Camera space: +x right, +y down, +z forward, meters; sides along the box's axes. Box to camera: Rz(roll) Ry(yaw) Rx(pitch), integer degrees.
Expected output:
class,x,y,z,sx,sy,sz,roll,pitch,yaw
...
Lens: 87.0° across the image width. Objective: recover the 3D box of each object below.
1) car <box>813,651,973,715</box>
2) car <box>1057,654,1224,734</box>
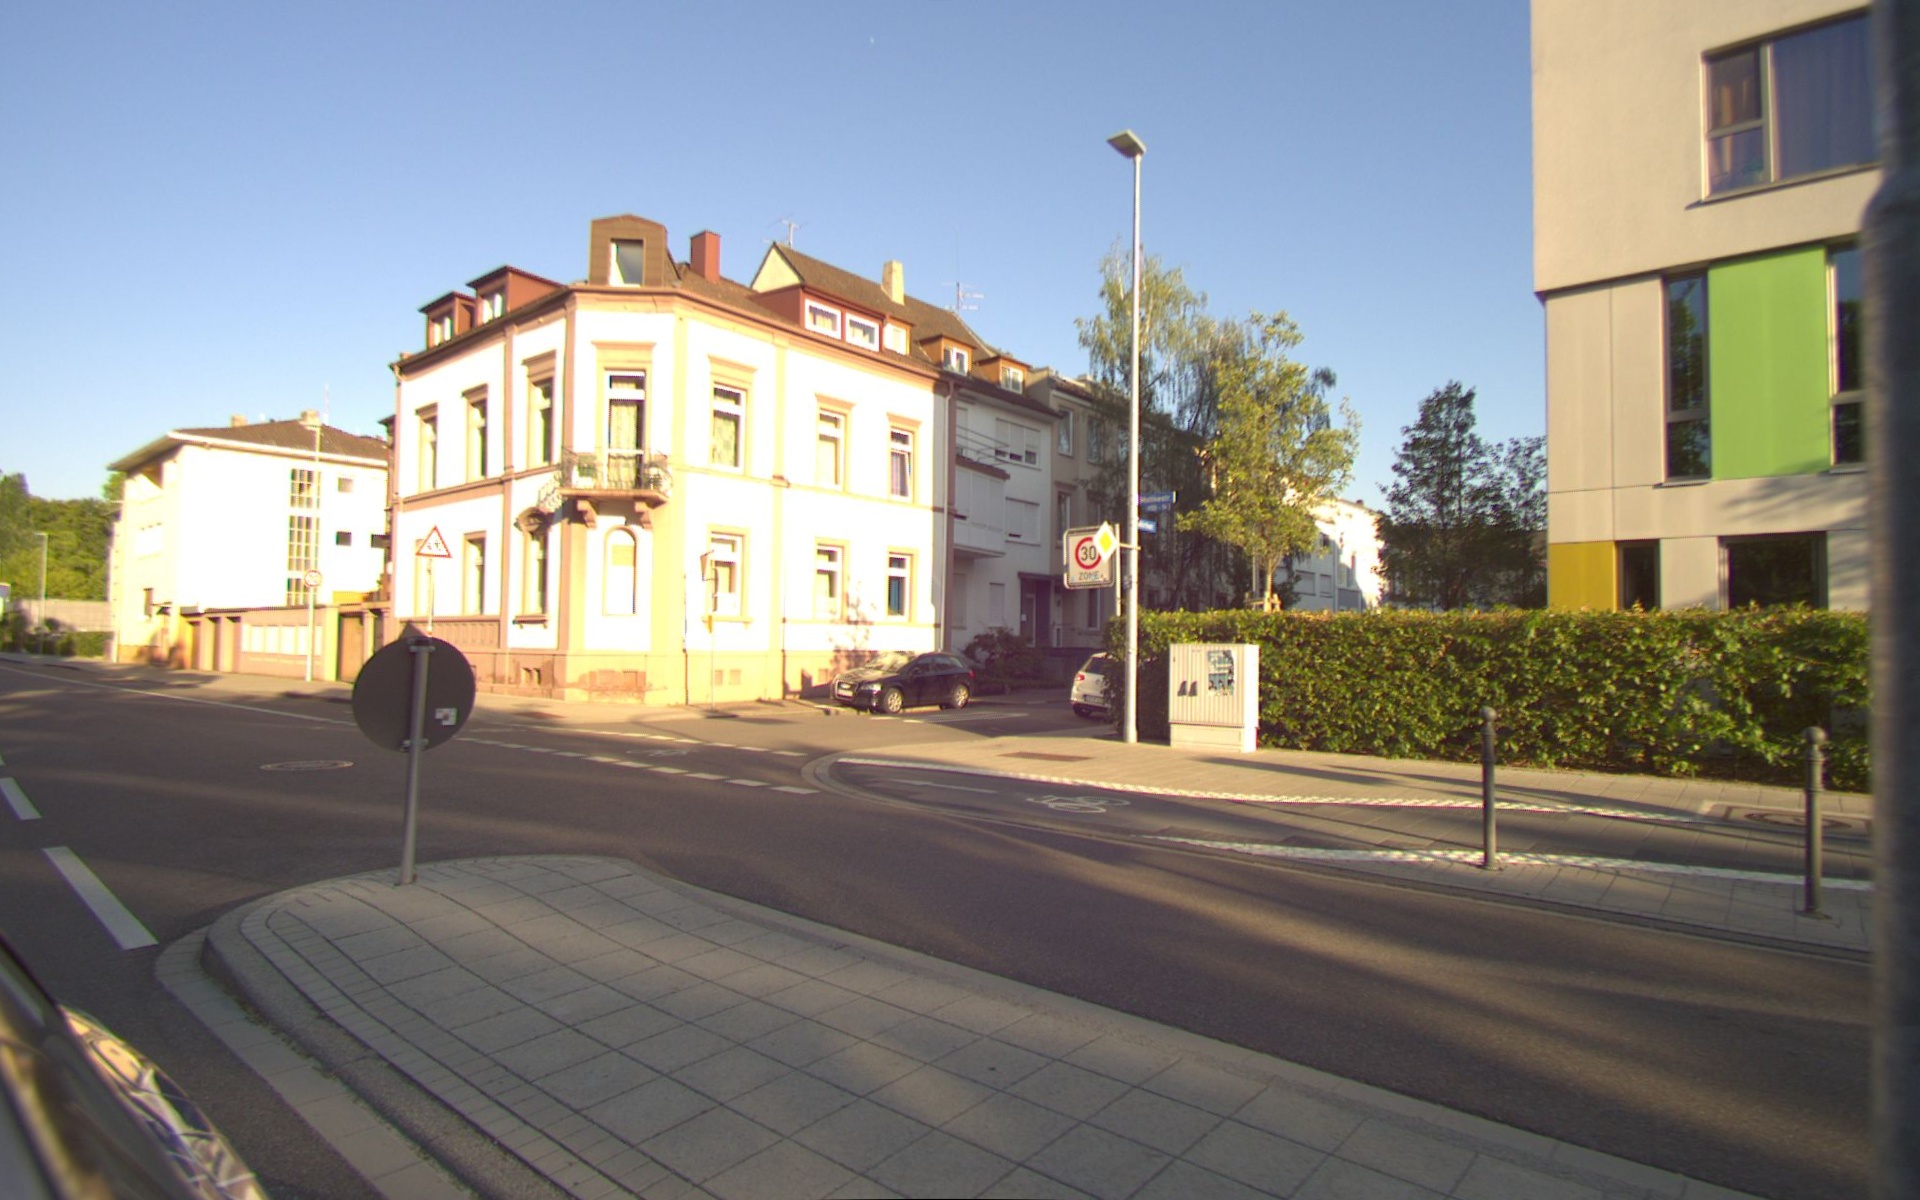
class,x,y,z,sx,sy,sz,roll,pitch,yaw
car,-1.600,2.003,25.317,1.902,1.449,3.868,-2,-4,39
car,4.090,2.013,22.539,1.819,1.449,3.864,4,0,42
